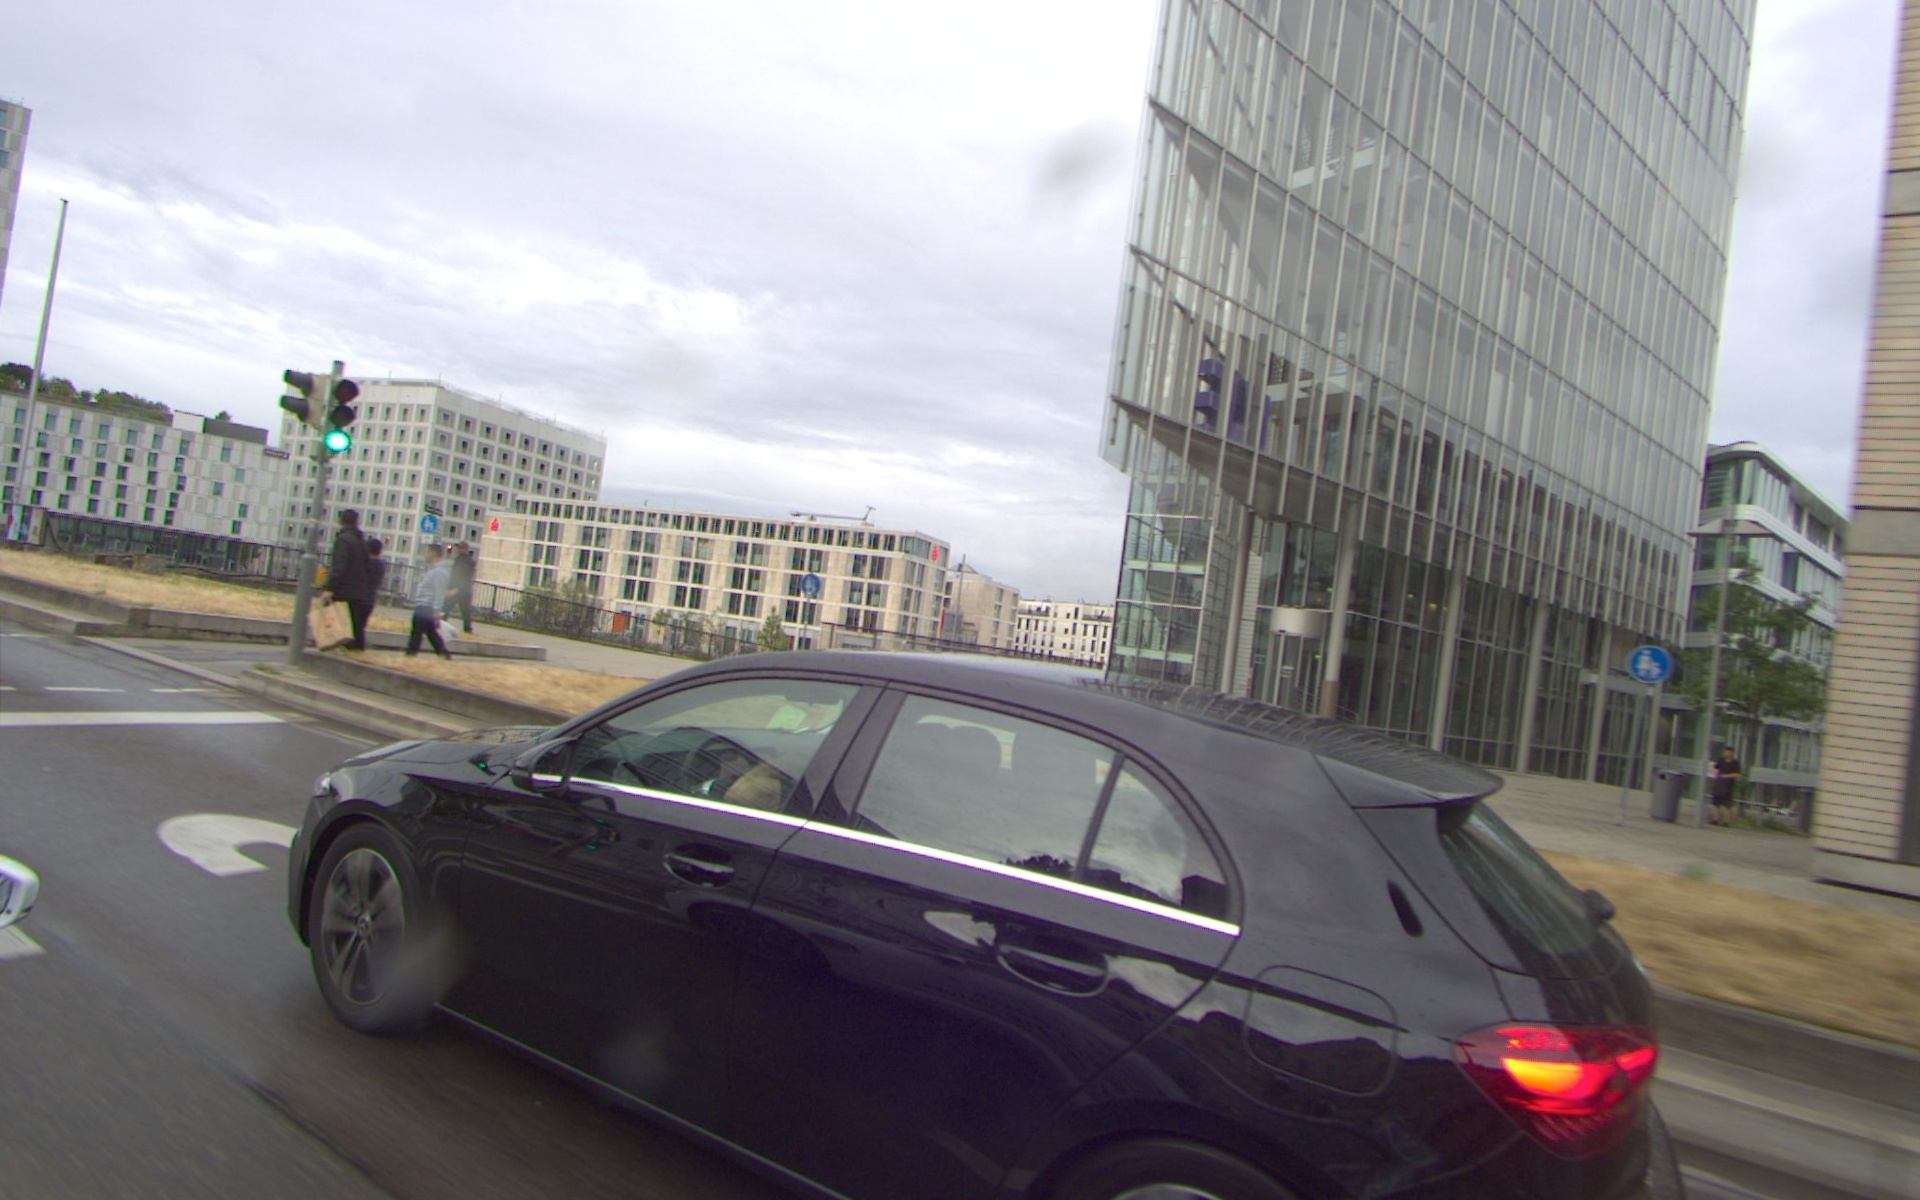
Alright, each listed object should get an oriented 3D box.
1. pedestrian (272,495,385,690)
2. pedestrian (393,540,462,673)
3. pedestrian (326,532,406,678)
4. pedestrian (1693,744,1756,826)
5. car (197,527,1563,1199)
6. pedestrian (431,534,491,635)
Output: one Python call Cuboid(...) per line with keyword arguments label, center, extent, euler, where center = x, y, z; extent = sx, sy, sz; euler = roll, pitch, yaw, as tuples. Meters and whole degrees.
Cuboid(label="pedestrian", center=(-6.465, -0.073, 10.338), extent=(0.542, 1.863, 0.781), euler=(8, 1, -12))
Cuboid(label="pedestrian", center=(-6.789, 0.072, 12.861), extent=(0.544, 1.597, 0.667), euler=(8, 1, -24))
Cuboid(label="pedestrian", center=(-6.887, 0.046, 11.696), extent=(0.544, 1.597, 0.667), euler=(8, 1, -24))
Cuboid(label="pedestrian", center=(17.831, 4.309, 23.475), extent=(0.546, 1.742, 0.860), euler=(8, 1, -35))
Cuboid(label="car", center=(-0.470, 0.794, 3.411), extent=(4.134, 1.453, 1.876), euler=(8, -1, 31))
Cuboid(label="pedestrian", center=(-8.468, -0.269, 17.090), extent=(0.662, 1.597, 0.665), euler=(8, 1, -21))
